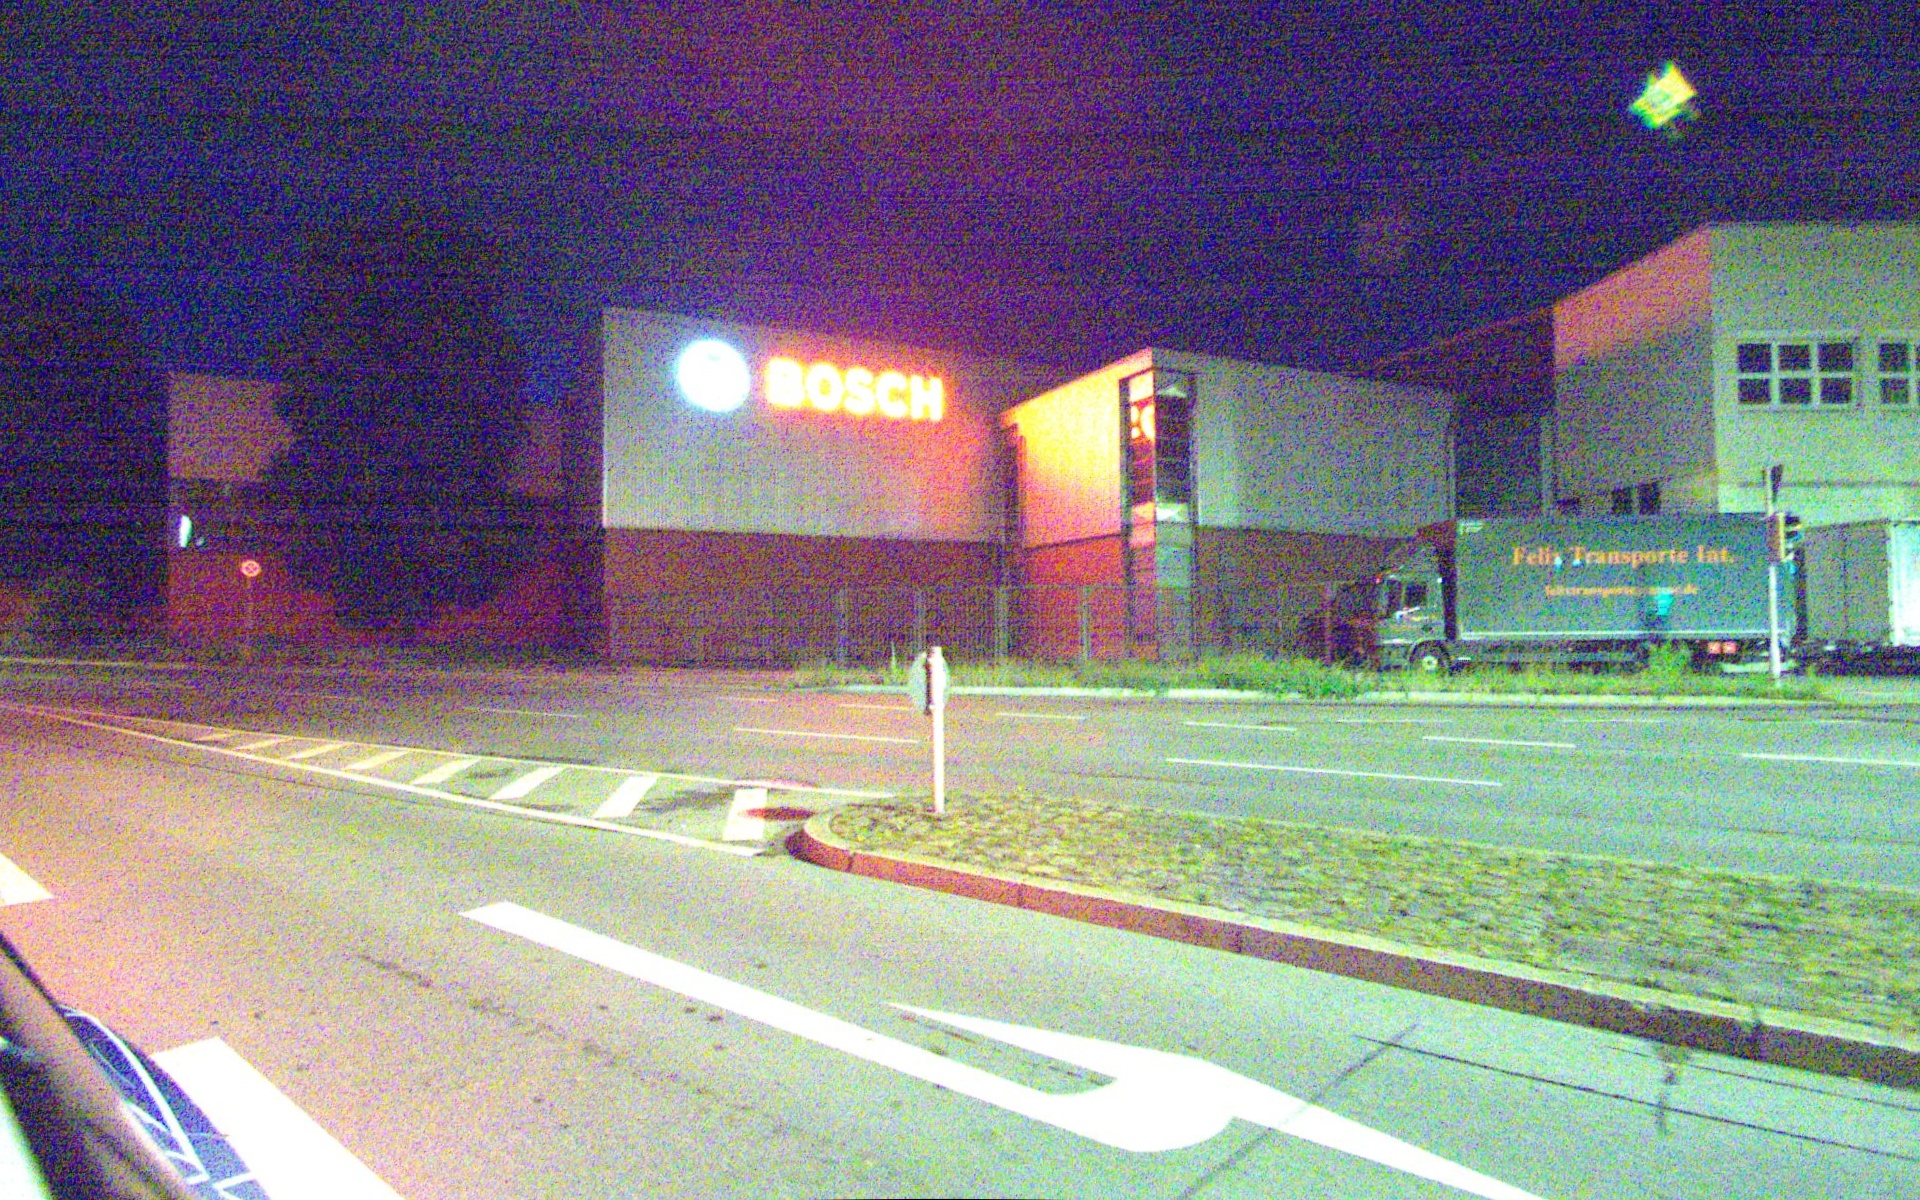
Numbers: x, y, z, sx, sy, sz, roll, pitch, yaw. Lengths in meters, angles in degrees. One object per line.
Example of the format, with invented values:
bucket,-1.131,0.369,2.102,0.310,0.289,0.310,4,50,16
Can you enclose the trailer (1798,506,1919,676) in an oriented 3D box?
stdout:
trailer,24.079,-0.178,23.727,6.430,3.819,2.619,0,-1,4

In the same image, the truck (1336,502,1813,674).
truck,14.400,-0.266,24.495,9.440,3.825,2.942,0,-1,6
